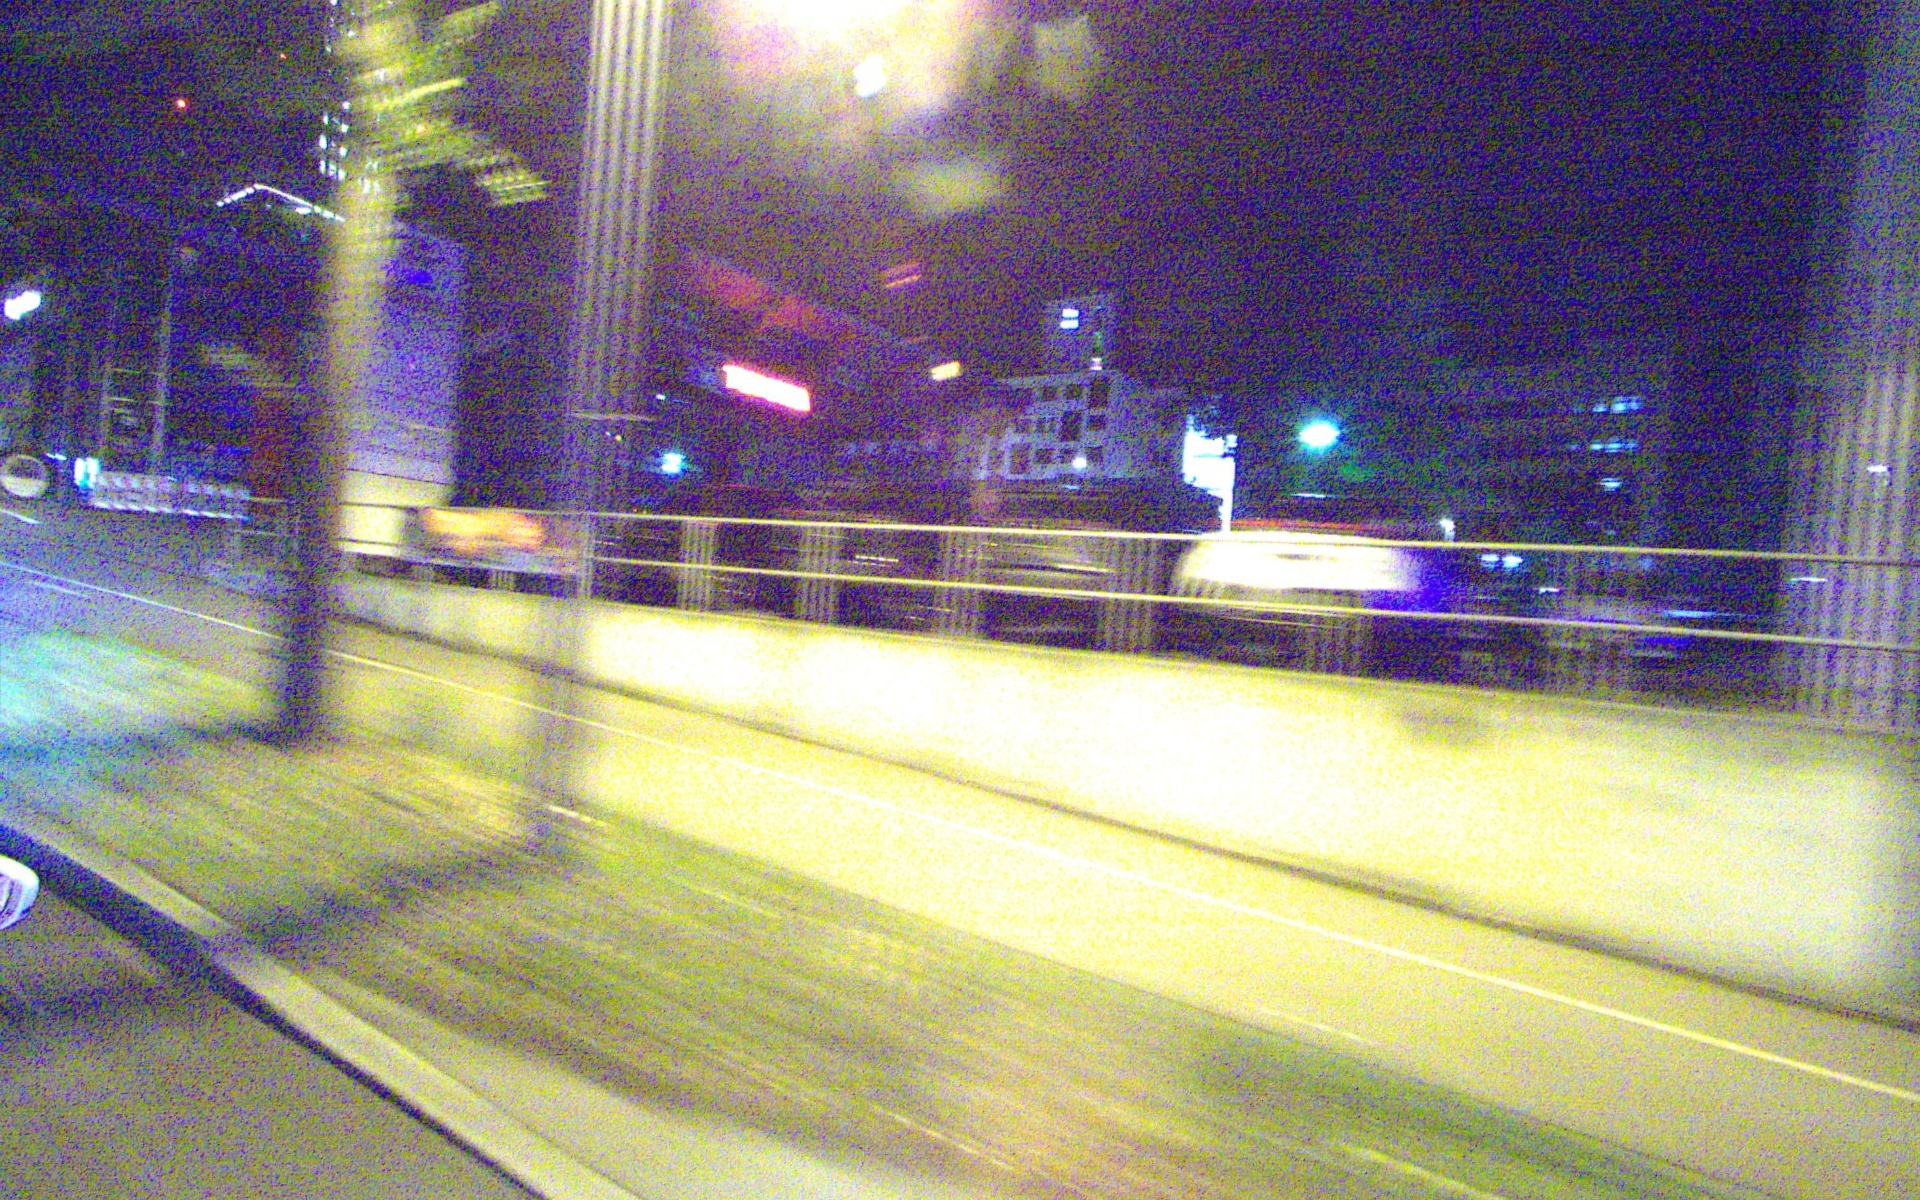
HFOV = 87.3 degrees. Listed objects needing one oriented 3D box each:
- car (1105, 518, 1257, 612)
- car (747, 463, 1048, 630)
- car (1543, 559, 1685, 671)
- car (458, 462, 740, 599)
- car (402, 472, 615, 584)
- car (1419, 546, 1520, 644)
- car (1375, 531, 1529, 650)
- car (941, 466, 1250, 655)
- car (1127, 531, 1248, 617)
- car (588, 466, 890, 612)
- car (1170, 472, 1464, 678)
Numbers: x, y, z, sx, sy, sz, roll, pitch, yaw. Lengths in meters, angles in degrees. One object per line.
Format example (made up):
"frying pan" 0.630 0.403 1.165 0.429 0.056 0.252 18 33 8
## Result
"car" 4.866 -0.707 21.683 1.722 1.749 4.357 6 3 32
"car" -0.555 -0.568 11.852 1.750 1.609 3.748 5 2 28
"car" 10.414 0.192 16.056 1.611 1.491 3.637 6 3 33
"car" -4.992 -0.908 14.373 1.696 1.591 3.566 6 2 25
"car" -7.139 -1.084 16.335 1.707 1.510 3.839 3 2 -1
"car" 11.504 -0.067 22.772 1.722 1.920 3.814 6 1 27
"car" 8.695 -0.182 17.611 1.808 1.755 3.983 6 3 33
"car" 1.633 -0.342 10.737 1.710 1.592 3.988 6 2 31
"car" 6.215 -0.630 27.061 1.965 1.935 4.582 6 1 27
"car" -2.668 -0.691 12.970 1.712 1.508 3.728 5 1 28
"car" 3.640 -0.174 9.739 1.792 1.542 4.121 5 1 31
